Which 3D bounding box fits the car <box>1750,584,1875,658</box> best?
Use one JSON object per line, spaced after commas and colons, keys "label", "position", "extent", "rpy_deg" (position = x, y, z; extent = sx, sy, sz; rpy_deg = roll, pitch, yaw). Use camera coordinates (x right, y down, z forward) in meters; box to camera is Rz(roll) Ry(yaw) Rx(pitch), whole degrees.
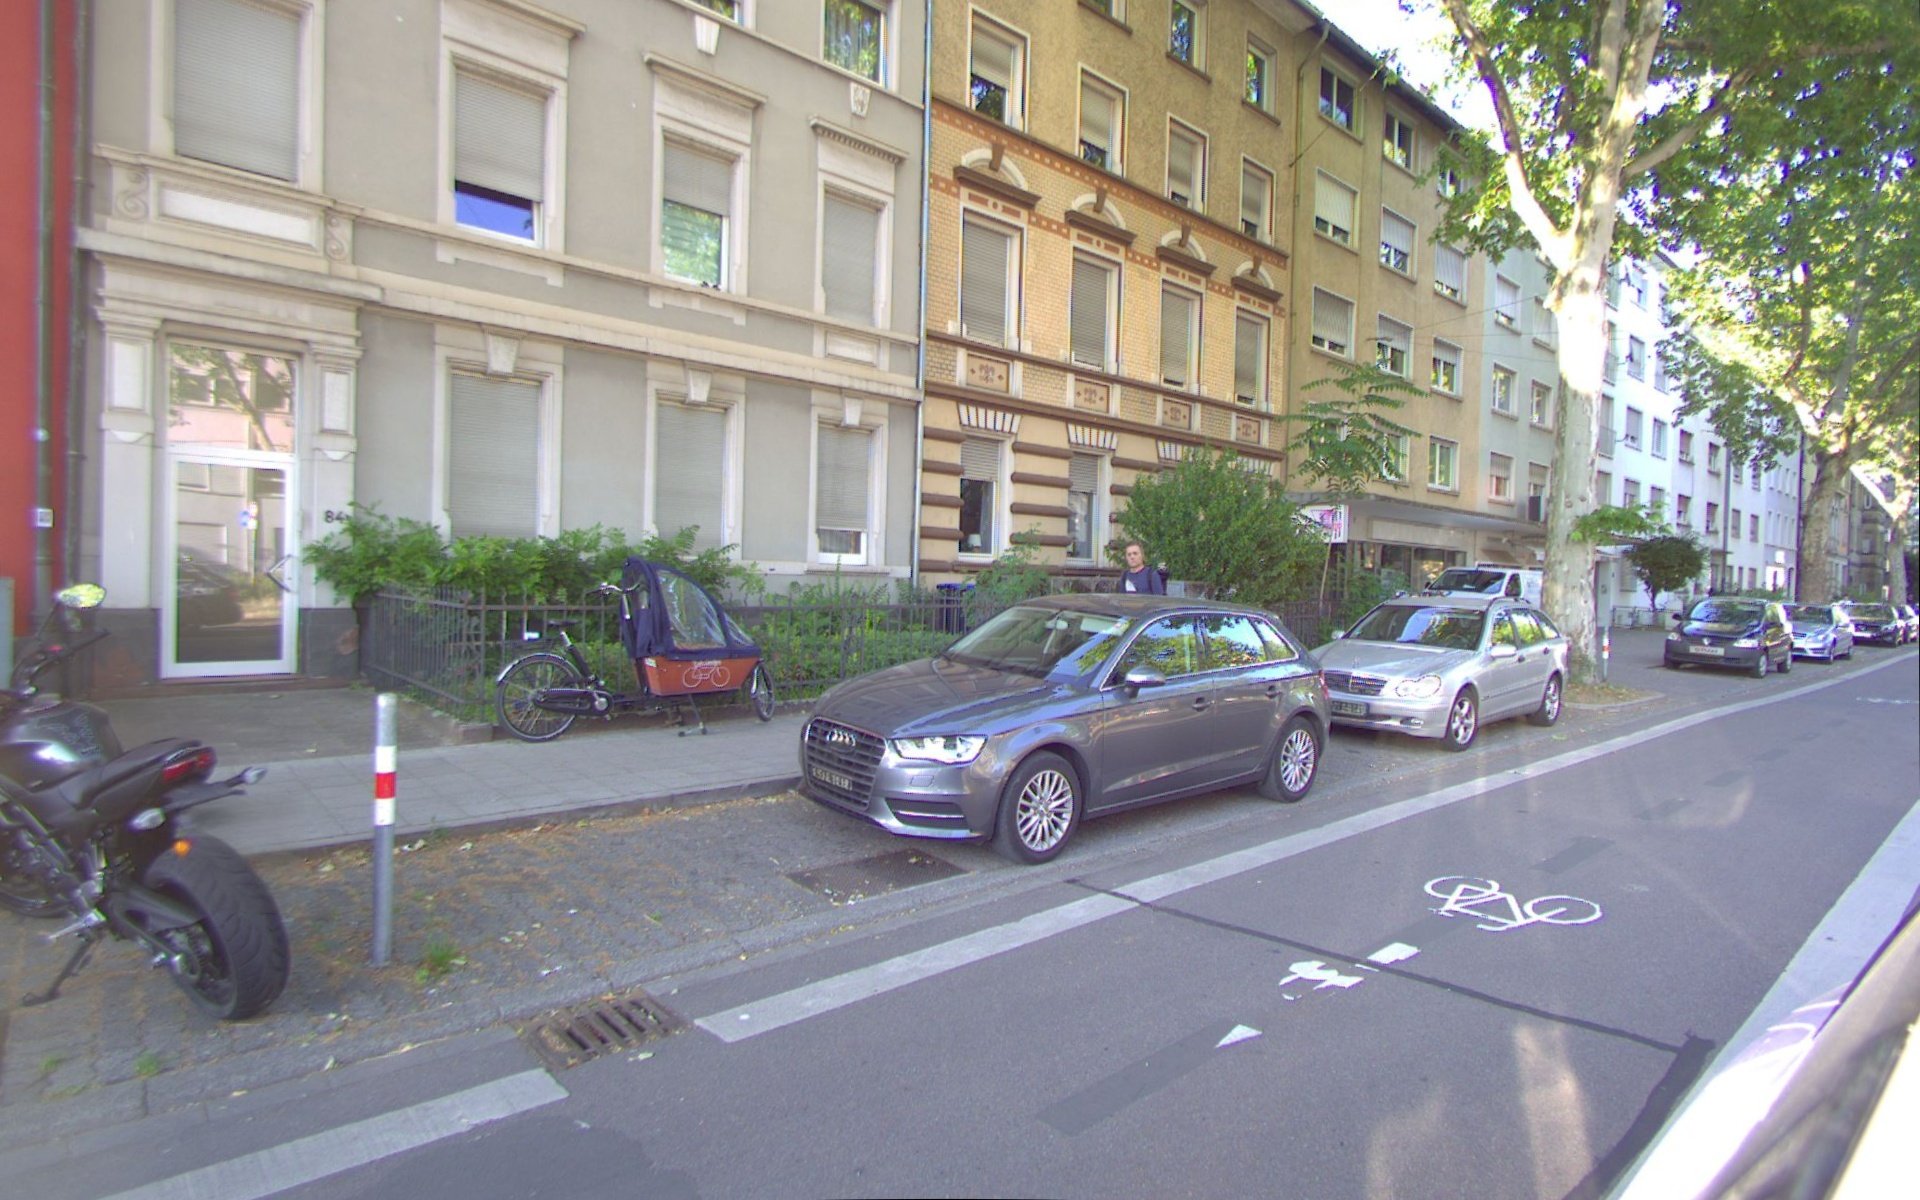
{"label": "car", "position": [21.802, 0.473, 25.825], "extent": [4.295, 1.628, 1.802], "rpy_deg": [0, 4, -42]}

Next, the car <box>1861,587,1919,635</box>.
{"label": "car", "position": [35.653, 0.390, 38.278], "extent": [4.295, 1.628, 1.802], "rpy_deg": [0, 4, -42]}

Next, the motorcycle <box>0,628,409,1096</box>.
{"label": "motorcycle", "position": [-3.036, 0.758, 3.574], "extent": [2.188, 1.124, 0.659], "rpy_deg": [4, 2, 23]}

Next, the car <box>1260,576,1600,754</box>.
{"label": "car", "position": [5.314, 0.548, 11.140], "extent": [4.436, 1.472, 1.801], "rpy_deg": [0, 4, -43]}

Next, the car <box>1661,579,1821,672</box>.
{"label": "car", "position": [16.165, 0.453, 20.874], "extent": [4.295, 1.628, 1.802], "rpy_deg": [0, 4, -42]}

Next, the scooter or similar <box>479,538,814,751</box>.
{"label": "scooter or similar", "position": [-2.429, 0.297, 8.135], "extent": [2.500, 1.488, 0.666], "rpy_deg": [0, 2, -41]}

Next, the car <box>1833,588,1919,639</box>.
{"label": "car", "position": [31.429, 0.405, 34.597], "extent": [4.295, 1.520, 1.802], "rpy_deg": [0, 4, -42]}

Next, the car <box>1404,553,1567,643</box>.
{"label": "car", "position": [12.782, -0.075, 24.486], "extent": [4.597, 1.897, 1.932], "rpy_deg": [0, 4, -42]}

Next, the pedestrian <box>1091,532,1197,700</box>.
{"label": "pedestrian", "position": [2.013, 0.145, 11.074], "extent": [0.802, 1.731, 0.728], "rpy_deg": [-1, 4, -41]}

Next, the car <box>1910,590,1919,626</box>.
{"label": "car", "position": [46.699, 0.414, 48.123], "extent": [4.034, 1.628, 1.802], "rpy_deg": [0, 4, -42]}

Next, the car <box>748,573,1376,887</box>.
{"label": "car", "position": [0.914, 0.606, 6.963], "extent": [4.293, 1.418, 1.802], "rpy_deg": [0, 4, -41]}
